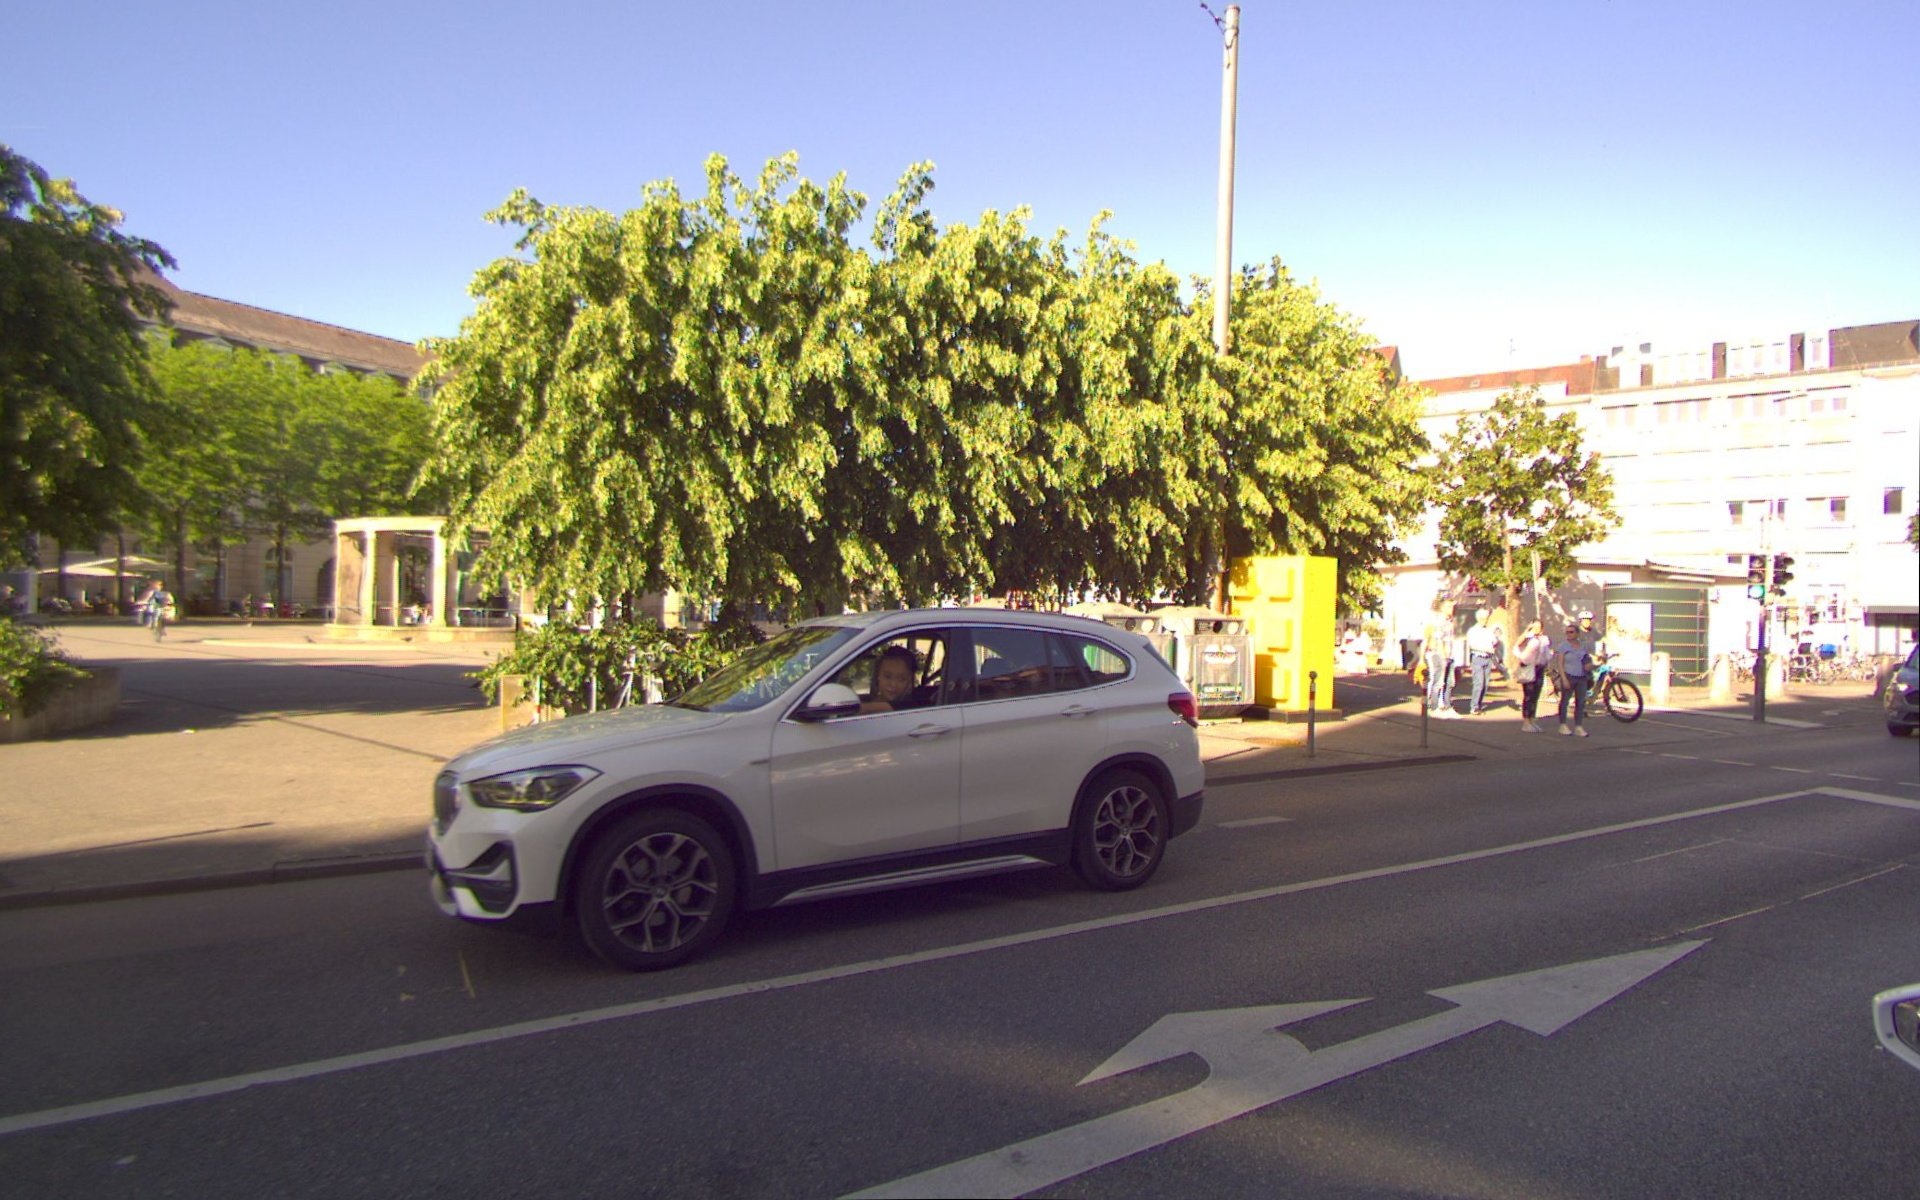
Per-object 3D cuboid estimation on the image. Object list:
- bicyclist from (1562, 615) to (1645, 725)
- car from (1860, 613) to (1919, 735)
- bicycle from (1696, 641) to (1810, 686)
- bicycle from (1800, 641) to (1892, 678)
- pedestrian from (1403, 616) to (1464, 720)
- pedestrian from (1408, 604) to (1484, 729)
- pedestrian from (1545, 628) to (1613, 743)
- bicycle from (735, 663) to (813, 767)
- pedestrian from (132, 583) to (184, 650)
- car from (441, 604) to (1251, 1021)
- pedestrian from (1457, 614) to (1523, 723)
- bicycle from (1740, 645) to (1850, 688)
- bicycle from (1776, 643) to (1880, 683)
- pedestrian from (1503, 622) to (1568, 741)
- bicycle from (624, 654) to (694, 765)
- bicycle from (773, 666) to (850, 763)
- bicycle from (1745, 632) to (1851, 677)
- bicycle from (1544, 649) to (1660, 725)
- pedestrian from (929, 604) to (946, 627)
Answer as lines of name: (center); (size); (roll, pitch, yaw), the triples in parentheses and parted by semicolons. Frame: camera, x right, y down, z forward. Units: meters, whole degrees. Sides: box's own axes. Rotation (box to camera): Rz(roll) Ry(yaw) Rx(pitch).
bicyclist: (11.337, 1.212, 17.715); (0.773, 1.863, 0.952); (1, 0, -7)
car: (16.784, 1.158, 16.416); (4.622, 1.868, 1.825); (1, -4, -32)
bicycle: (23.264, 1.852, 29.528); (0.833, 1.171, 2.493); (1, 0, -31)
bicycle: (31.014, 2.066, 35.203); (0.834, 1.171, 2.308); (1, 0, -35)
pedestrian: (8.407, 1.183, 17.861); (0.640, 1.792, 0.897); (1, 0, 1)
pedestrian: (7.980, 1.063, 16.511); (0.699, 1.981, 0.828); (1, 1, -18)
pedestrian: (9.328, 1.267, 15.157); (0.608, 1.685, 0.685); (1, 0, 5)
bicycle: (-2.181, 1.291, 11.674); (0.425, 1.036, 1.561); (1, 0, -28)
pedestrian: (-21.886, 0.443, 27.413); (0.723, 1.781, 0.898); (1, 0, 29)
car: (-0.498, 0.880, 5.744); (4.263, 1.576, 1.797); (1, -3, -33)
pedestrian: (9.316, 1.183, 17.683); (0.727, 1.851, 0.846); (1, 0, 4)
bicycle: (25.472, 1.999, 30.701); (0.833, 1.171, 2.449); (1, 0, -31)
bicycle: (29.096, 2.090, 33.716); (0.834, 1.171, 2.517); (1, 0, -35)
pedestrian: (8.714, 1.214, 15.218); (0.661, 1.751, 0.549); (1, 0, 3)
bicycle: (-3.345, 1.166, 11.084); (0.425, 1.031, 1.590); (1, 0, -28)
bicycle: (-1.794, 1.332, 11.988); (0.425, 0.971, 1.517); (0, 0, -28)
bicycle: (26.828, 1.718, 32.196); (0.913, 1.341, 2.461); (1, 0, -35)
bicycle: (11.345, 1.515, 17.837); (0.528, 1.154, 2.065); (1, 0, -6)
pedestrian: (-2.110, 1.454, 94.216); (1.250, 2.040, 1.286); (1, 0, 15)
